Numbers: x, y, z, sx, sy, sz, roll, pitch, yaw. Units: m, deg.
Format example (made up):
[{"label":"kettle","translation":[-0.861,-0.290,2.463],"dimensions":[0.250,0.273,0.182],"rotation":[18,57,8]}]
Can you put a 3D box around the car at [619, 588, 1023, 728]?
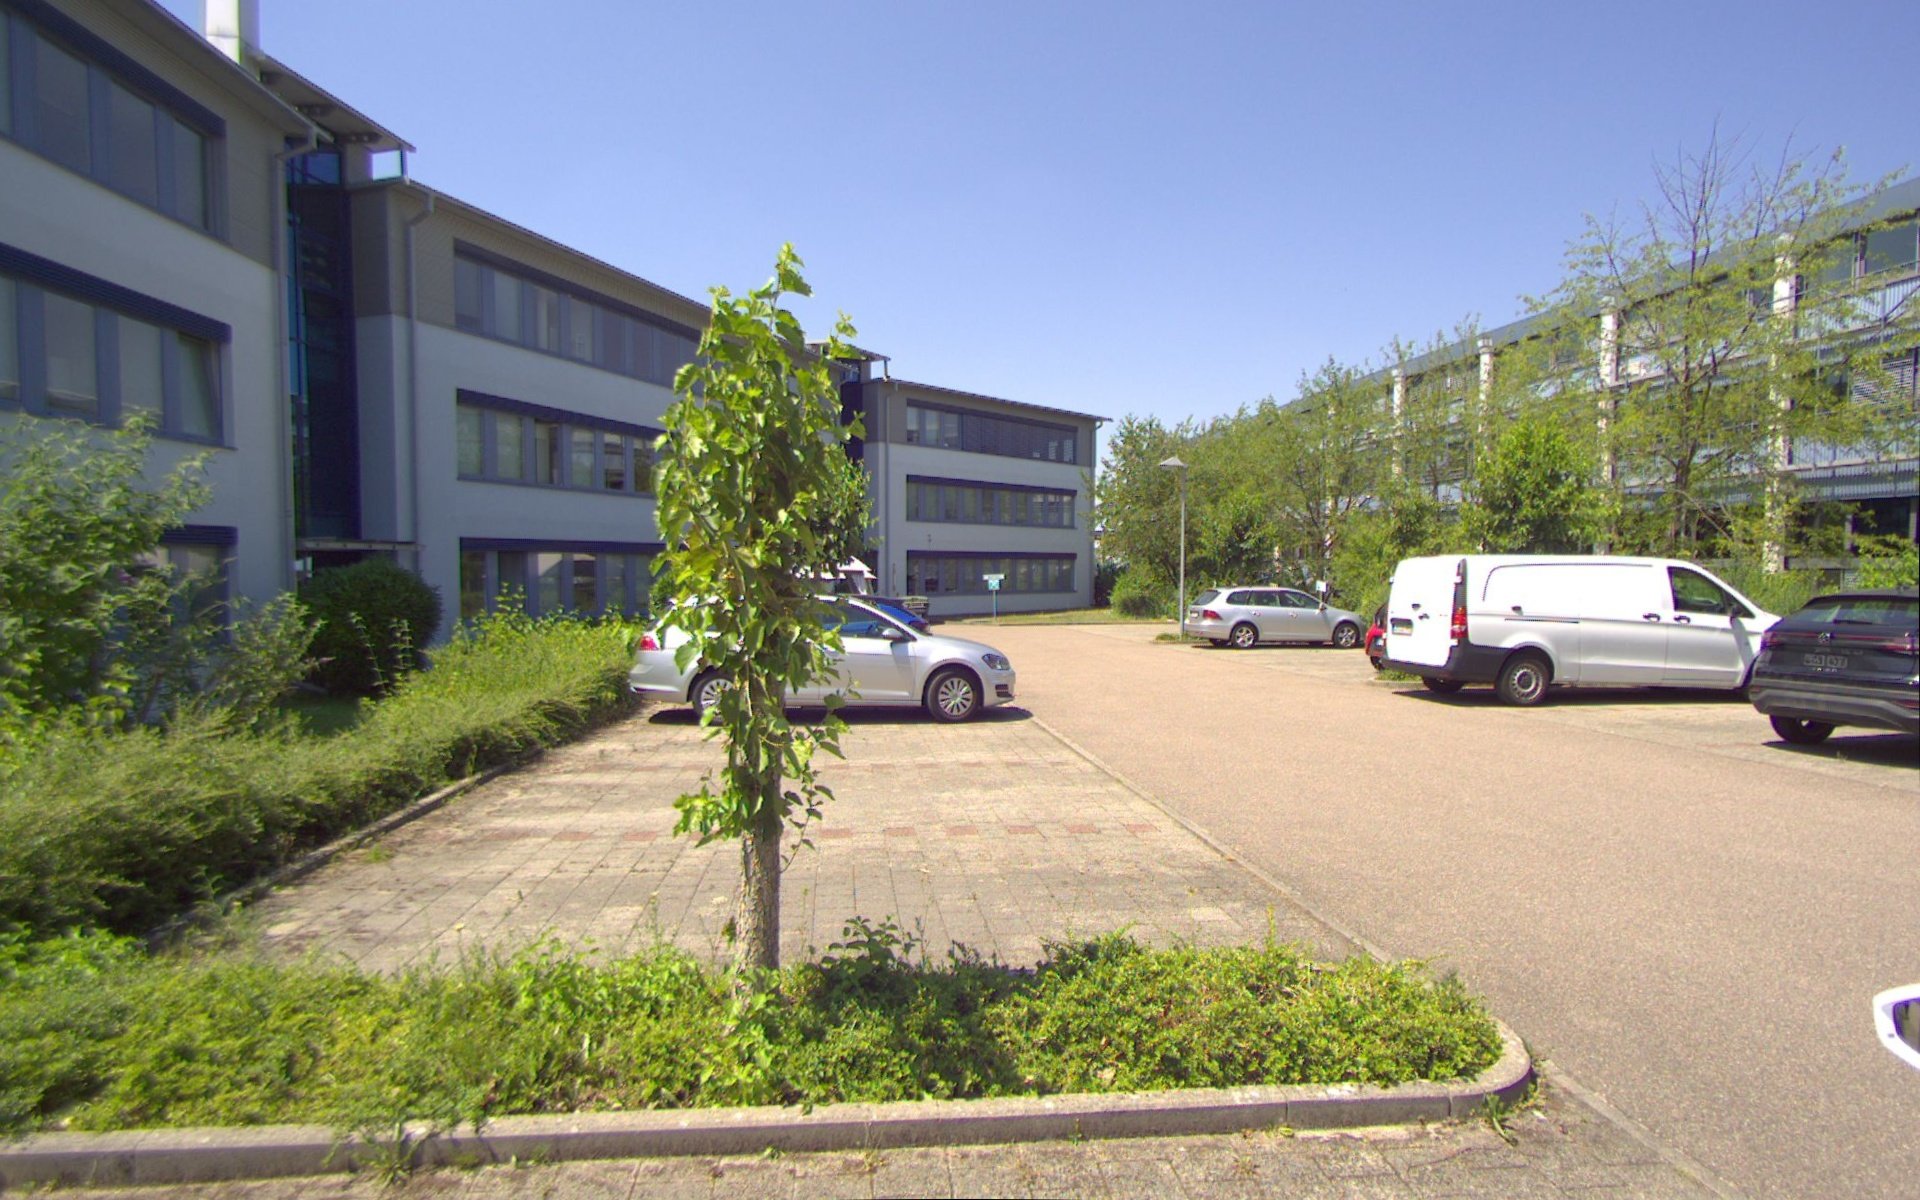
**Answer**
[{"label":"car","translation":[-1.591,0.608,11.990],"dimensions":[4.401,1.492,1.860],"rotation":[0,1,-8]}]

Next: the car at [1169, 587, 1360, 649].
[{"label":"car","translation":[7.369,0.396,24.543],"dimensions":[4.091,1.425,1.871],"rotation":[0,1,-5]}]

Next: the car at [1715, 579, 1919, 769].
[{"label":"car","translation":[9.233,0.547,9.205],"dimensions":[3.935,1.496,1.753],"rotation":[-1,1,-17]}]

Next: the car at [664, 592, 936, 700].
[{"label":"car","translation":[-2.405,0.658,15.748],"dimensions":[3.924,1.481,1.998],"rotation":[-1,1,-5]}]

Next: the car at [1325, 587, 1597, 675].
[{"label":"car","translation":[8.691,0.498,17.623],"dimensions":[3.924,1.460,1.786],"rotation":[0,1,-5]}]

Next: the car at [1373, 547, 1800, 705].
[{"label":"car","translation":[8.246,0.291,13.462],"dimensions":[4.713,1.916,1.885],"rotation":[-1,1,-6]}]
